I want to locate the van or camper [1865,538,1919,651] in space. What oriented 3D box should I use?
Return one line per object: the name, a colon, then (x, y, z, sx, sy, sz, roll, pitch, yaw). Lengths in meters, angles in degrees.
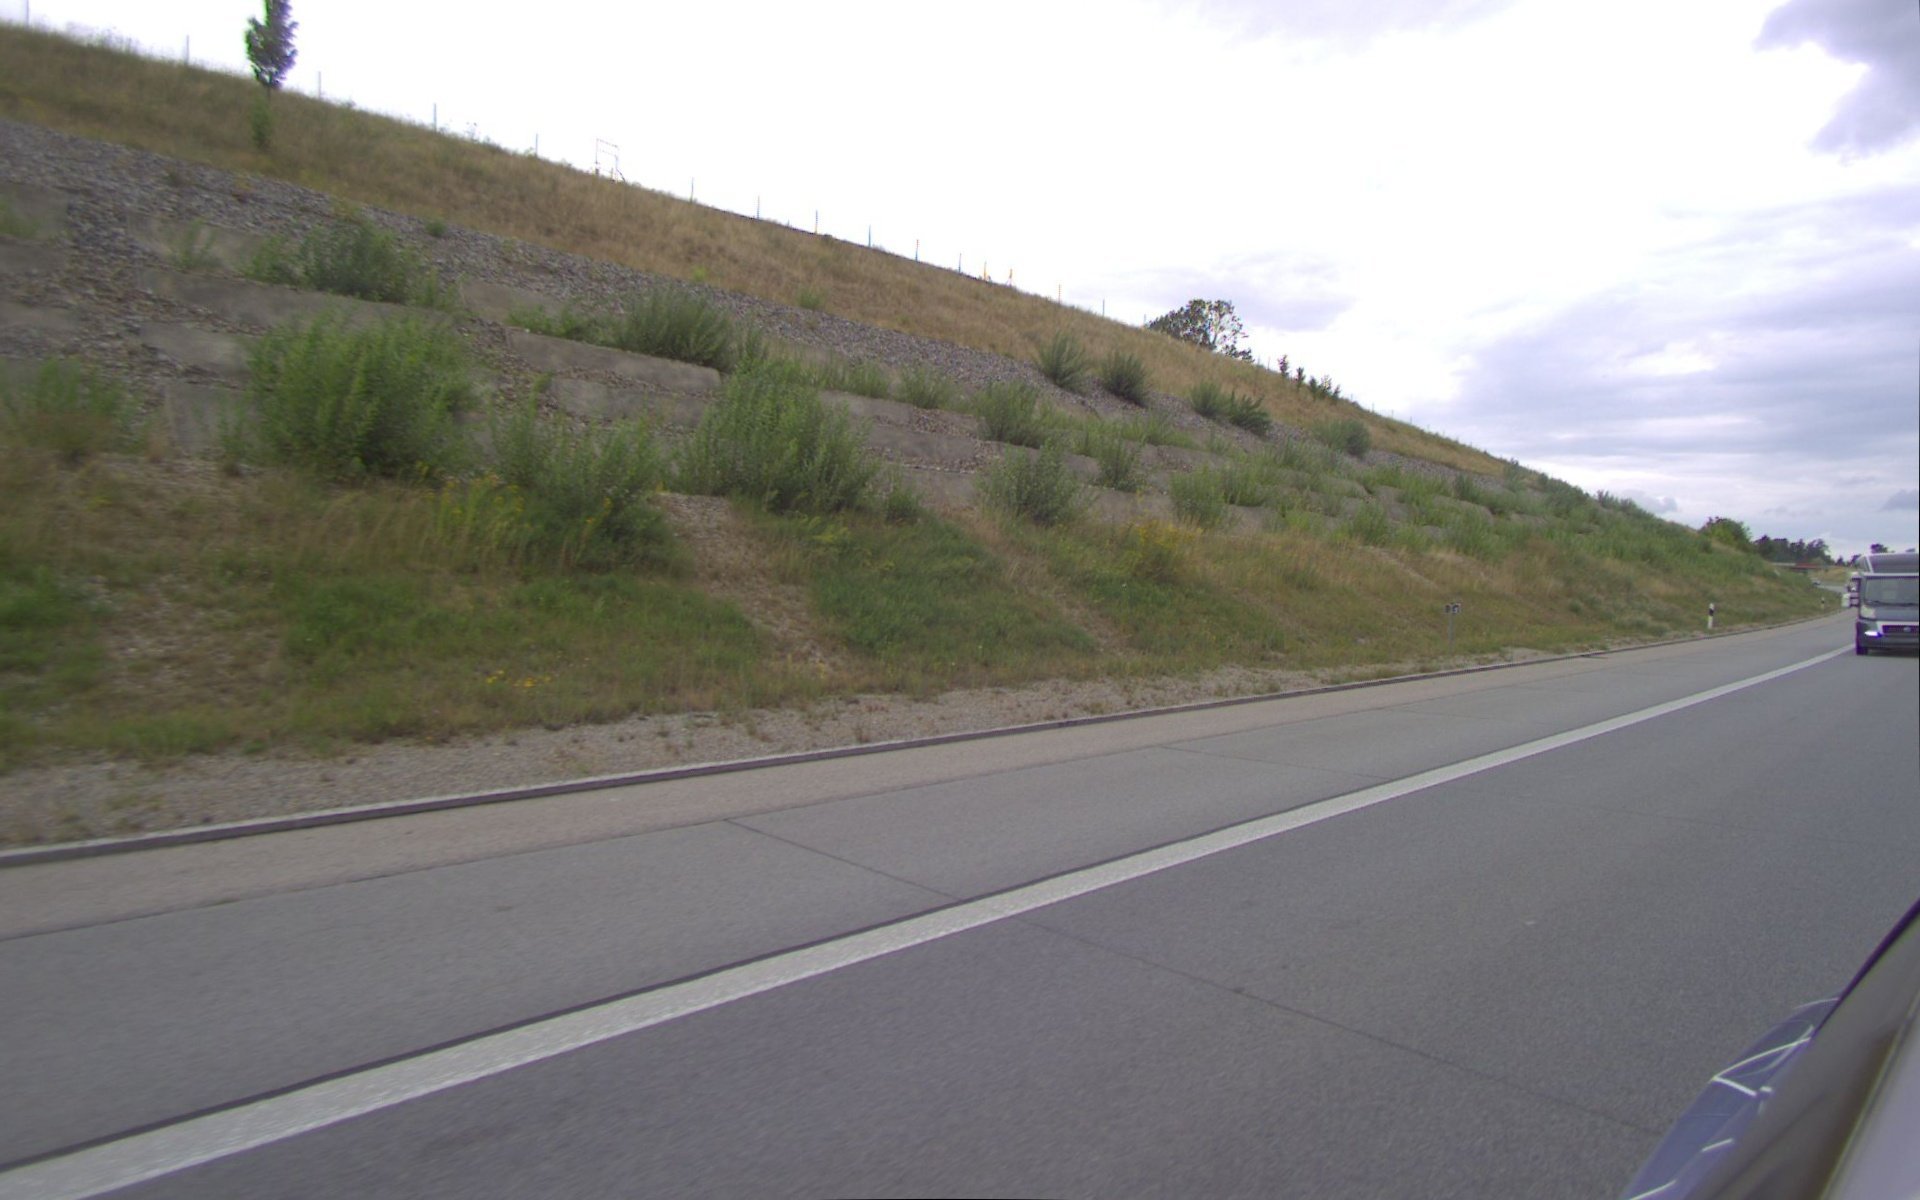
van or camper: (26.105, -0.167, 27.211, 6.787, 2.771, 2.100, -1, 1, -44)
